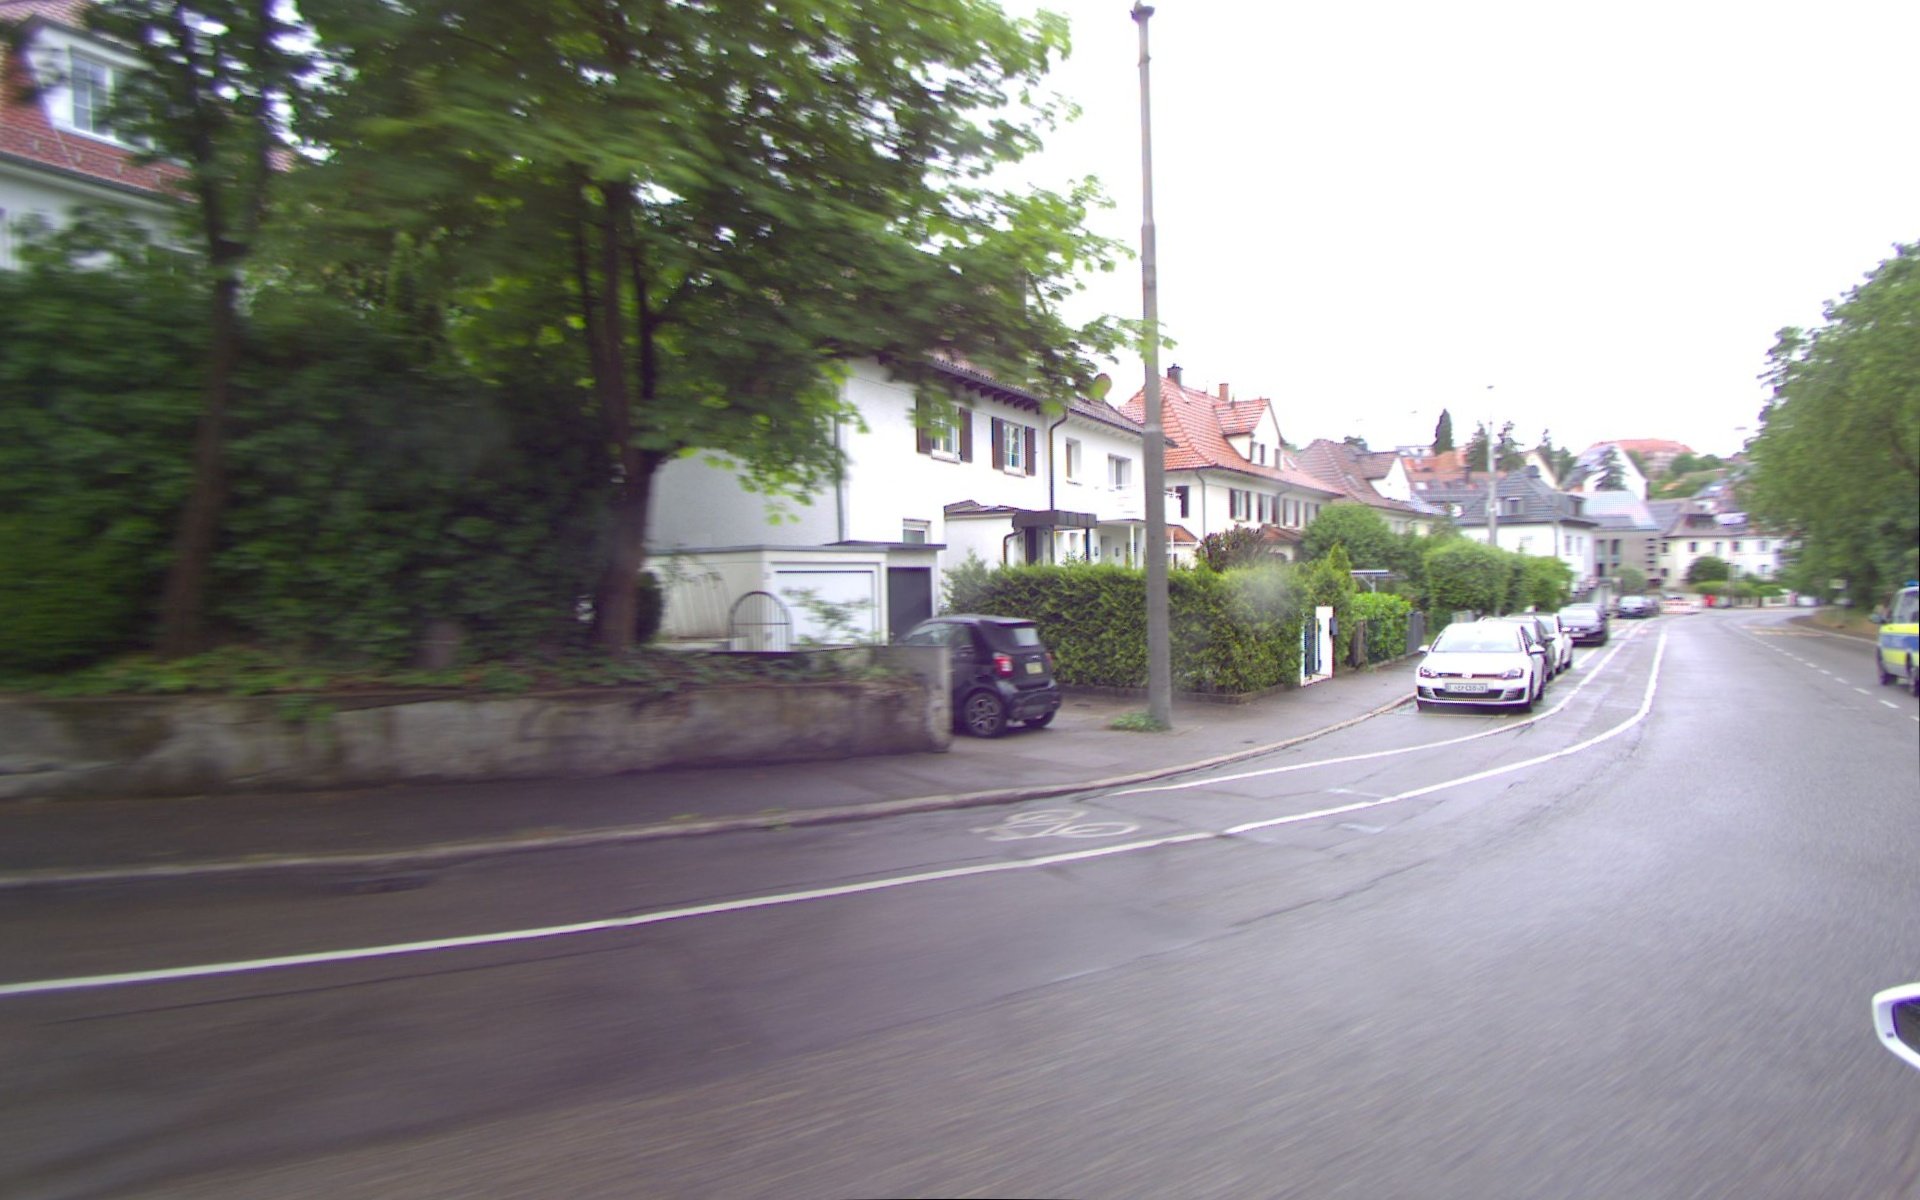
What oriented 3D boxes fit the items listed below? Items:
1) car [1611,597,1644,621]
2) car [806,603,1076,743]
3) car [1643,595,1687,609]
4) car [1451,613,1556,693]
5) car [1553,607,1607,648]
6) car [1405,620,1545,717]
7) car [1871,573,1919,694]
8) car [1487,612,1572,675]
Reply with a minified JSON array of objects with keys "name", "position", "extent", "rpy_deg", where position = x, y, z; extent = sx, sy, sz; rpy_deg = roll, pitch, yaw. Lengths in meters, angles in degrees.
[{"name":"car","position":[50.326,0.644,75.706],"extent":[1.732,1.681,4.387],"rpy_deg":[-1,0,37]},{"name":"car","position":[-0.280,0.922,14.119],"extent":[3.289,1.540,1.819],"rpy_deg":[4,1,31]},{"name":"car","position":[76.101,0.197,108.459],"extent":[1.803,1.463,3.998],"rpy_deg":[0,2,-2]},{"name":"car","position":[12.381,1.113,22.745],"extent":[1.675,1.545,4.409],"rpy_deg":[1,0,34]},{"name":"car","position":[23.945,1.022,38.726],"extent":[1.664,1.437,4.203],"rpy_deg":[-1,0,33]},{"name":"car","position":[9.268,1.122,17.899],"extent":[1.709,1.441,4.270],"rpy_deg":[-1,-1,34]},{"name":"car","position":[18.037,0.603,18.236],"extent":[1.970,2.040,4.382],"rpy_deg":[0,-1,39]},{"name":"car","position":[15.141,1.084,26.625],"extent":[1.675,1.487,3.700],"rpy_deg":[1,0,34]}]
